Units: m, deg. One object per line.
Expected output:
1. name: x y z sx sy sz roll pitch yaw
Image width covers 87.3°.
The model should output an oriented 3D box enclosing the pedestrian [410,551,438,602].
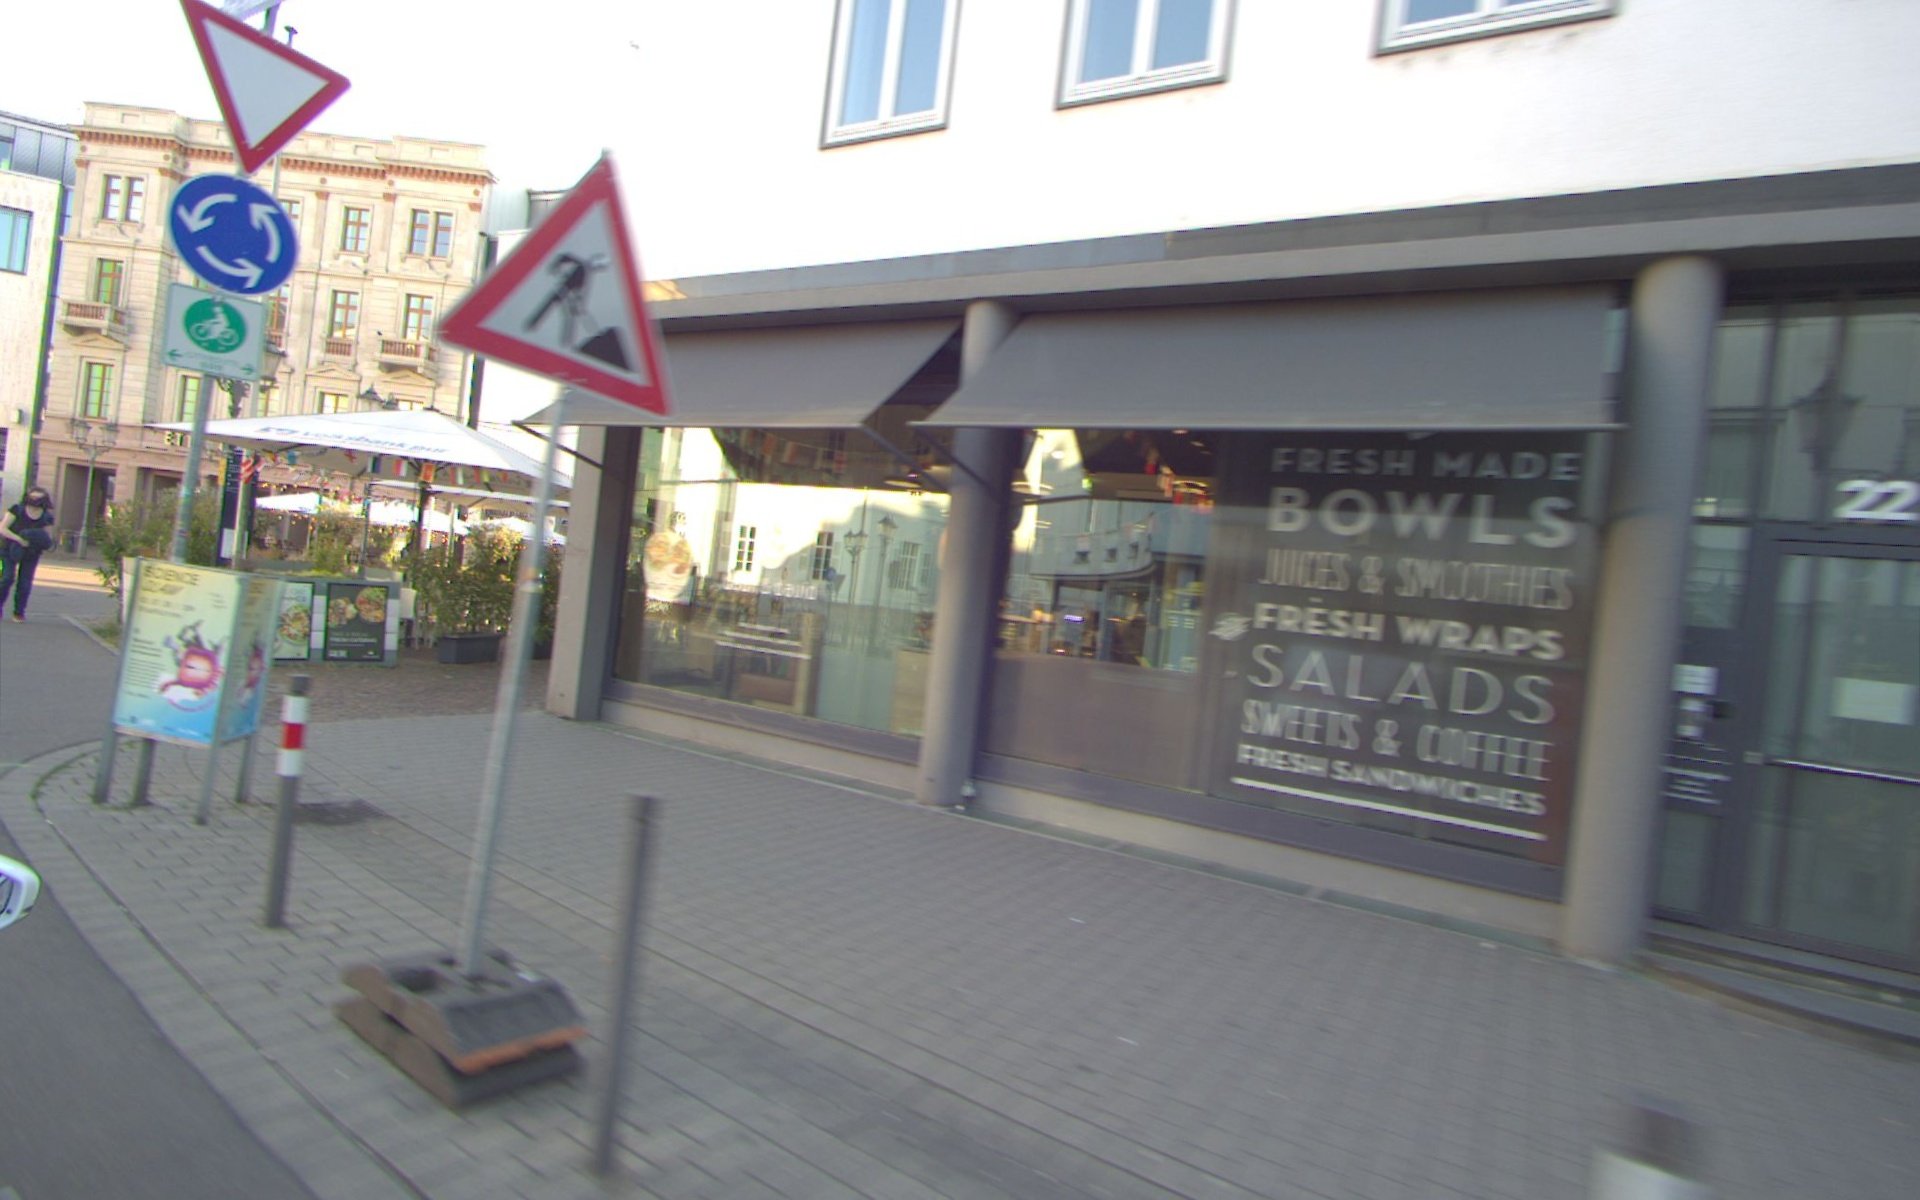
1. pedestrian: -16.705 -0.729 31.345 0.526 1.497 0.556 6 0 -40

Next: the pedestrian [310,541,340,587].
1. pedestrian: -21.921 -1.235 34.722 0.614 1.497 0.544 7 0 33

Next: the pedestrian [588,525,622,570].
1. pedestrian: -14.379 -2.103 40.758 0.851 1.667 0.931 7 0 1

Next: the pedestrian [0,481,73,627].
1. pedestrian: -11.337 -0.562 12.110 0.684 1.668 0.691 7 0 31

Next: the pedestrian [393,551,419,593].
1. pedestrian: -20.789 -1.045 37.756 0.616 1.497 0.542 7 0 42

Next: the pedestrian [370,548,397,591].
1. pedestrian: -21.219 -1.110 37.014 0.616 1.497 0.589 7 0 42

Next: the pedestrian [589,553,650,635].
1. pedestrian: -8.825 -0.145 26.108 1.008 1.955 1.010 7 0 2

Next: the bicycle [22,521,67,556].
1. bicycle: -30.207 -2.025 33.212 0.501 1.044 1.637 7 -1 -23

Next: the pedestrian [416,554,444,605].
1. pedestrian: -16.175 -0.626 30.723 0.525 1.497 0.556 6 0 -38

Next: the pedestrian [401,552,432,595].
1. pedestrian: -20.047 -0.969 37.092 0.612 1.497 0.624 7 0 21
